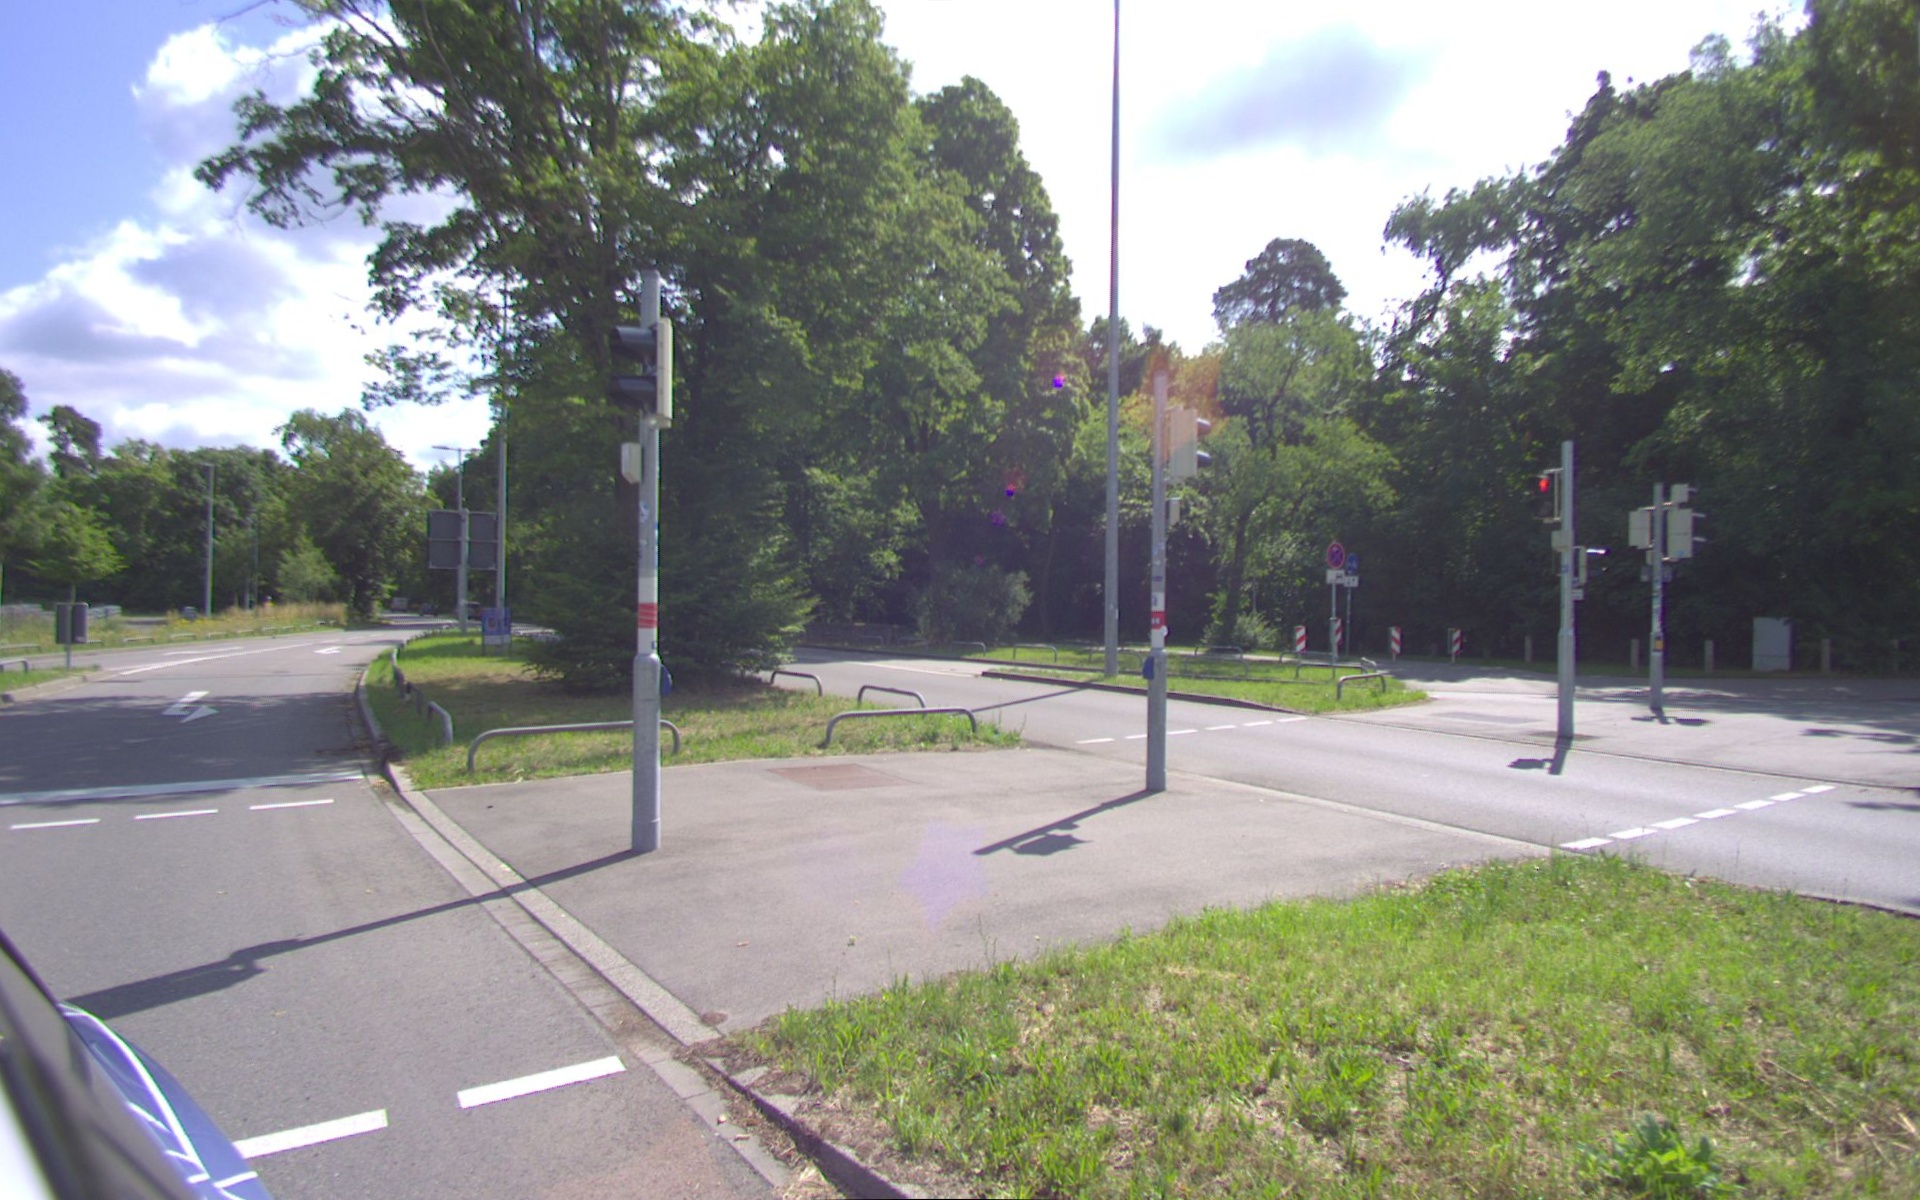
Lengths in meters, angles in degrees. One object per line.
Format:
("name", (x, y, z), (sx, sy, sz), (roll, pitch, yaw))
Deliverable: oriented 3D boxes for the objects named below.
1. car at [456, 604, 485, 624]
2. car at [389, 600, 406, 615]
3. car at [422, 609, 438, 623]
("car", (-43.253, 1.251, 89.317), (1.737, 1.642, 4.311), (-2, 0, -33))
("car", (-90.966, 1.191, 163.649), (1.948, 2.449, 5.377), (-1, 1, -34))
("car", (-62.871, 1.863, 120.033), (1.671, 1.457, 4.080), (-1, 1, -28))
